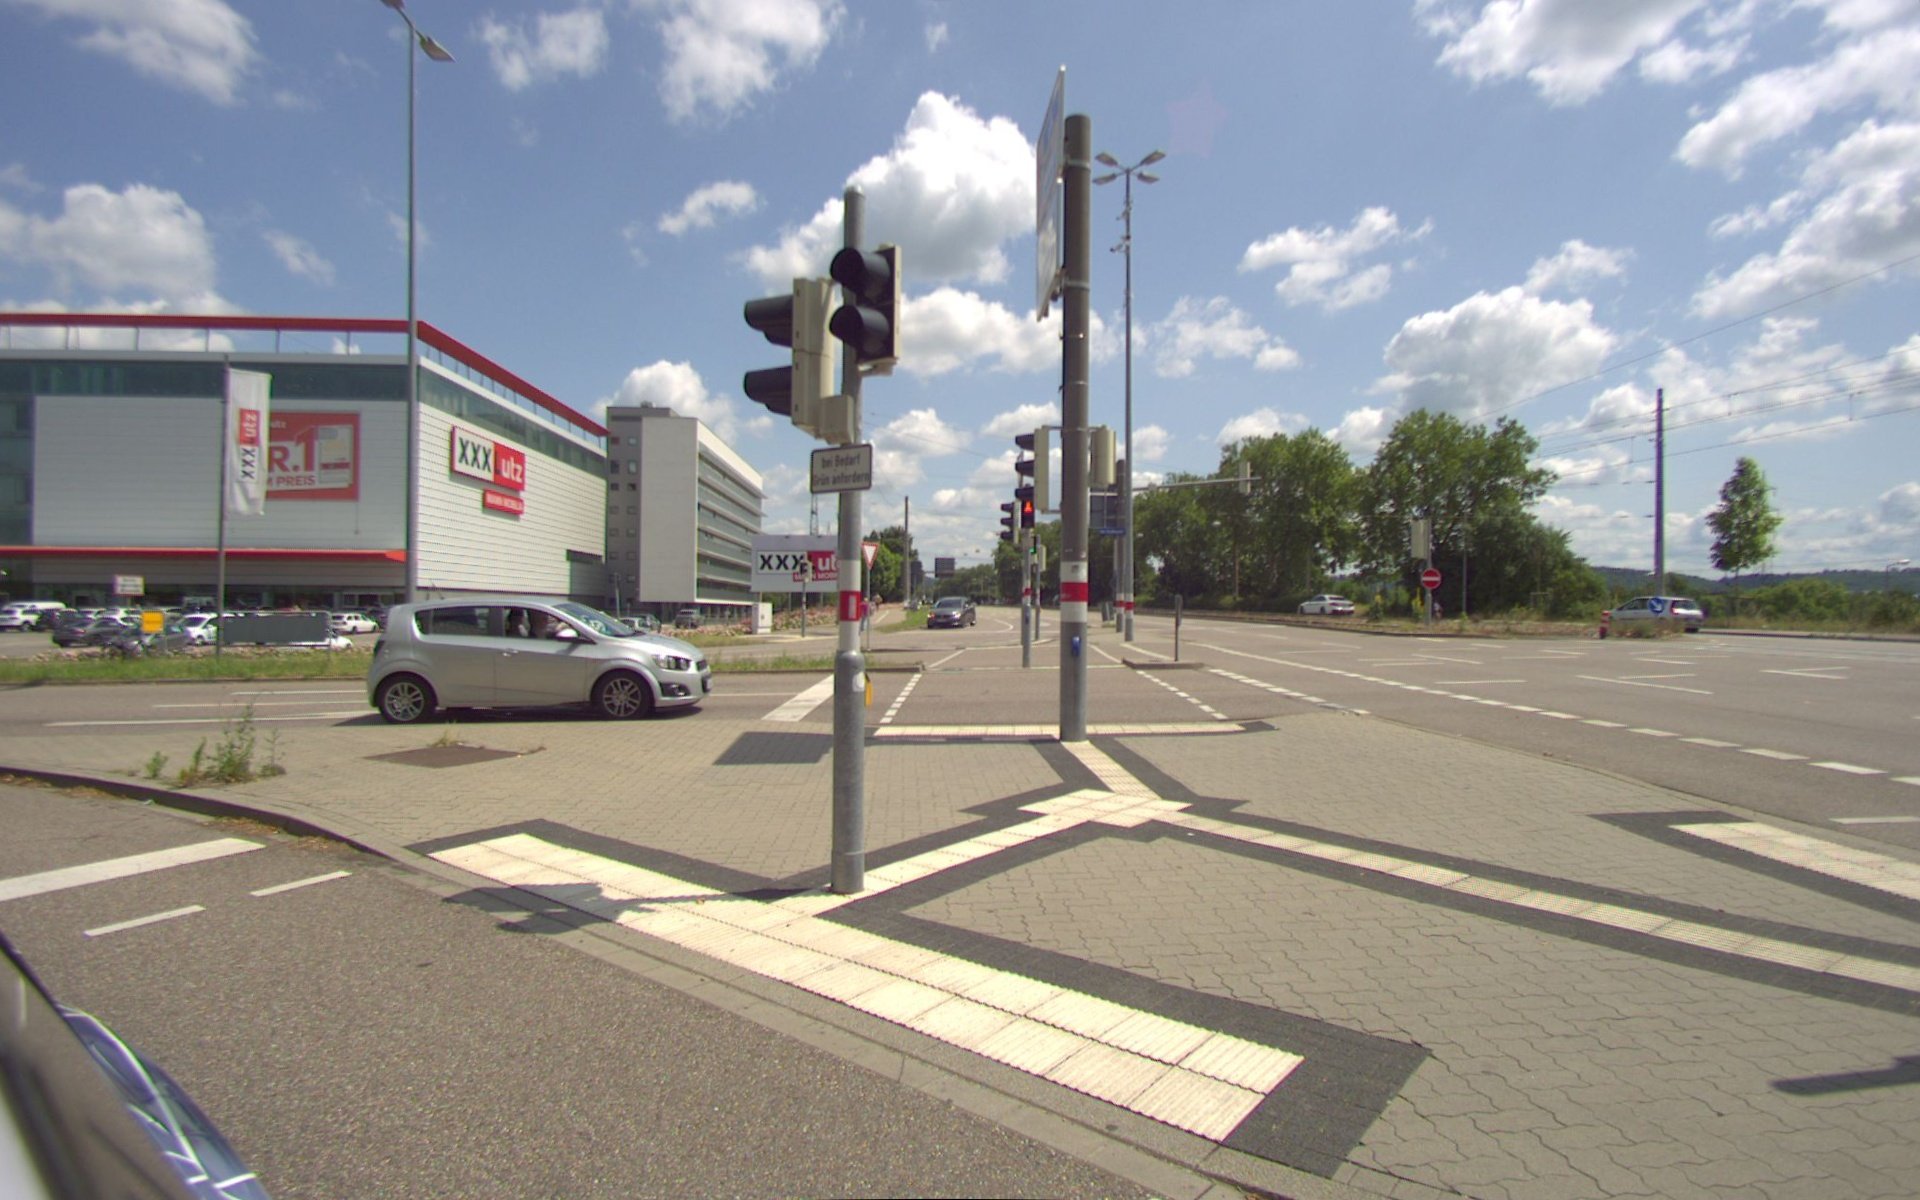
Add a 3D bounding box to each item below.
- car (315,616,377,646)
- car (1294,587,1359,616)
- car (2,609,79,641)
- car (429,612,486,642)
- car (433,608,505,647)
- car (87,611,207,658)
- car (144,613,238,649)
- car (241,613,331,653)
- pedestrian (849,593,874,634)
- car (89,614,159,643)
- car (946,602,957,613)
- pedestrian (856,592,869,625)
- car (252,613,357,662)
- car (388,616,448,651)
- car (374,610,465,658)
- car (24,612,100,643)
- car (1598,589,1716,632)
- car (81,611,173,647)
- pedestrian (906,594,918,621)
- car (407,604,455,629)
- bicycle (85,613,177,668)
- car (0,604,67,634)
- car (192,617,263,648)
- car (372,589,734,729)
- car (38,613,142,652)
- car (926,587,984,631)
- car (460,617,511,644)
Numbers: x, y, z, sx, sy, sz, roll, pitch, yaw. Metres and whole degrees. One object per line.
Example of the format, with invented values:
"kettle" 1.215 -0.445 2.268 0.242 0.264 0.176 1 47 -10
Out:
"car" -42.055 2.107 69.432 1.970 2.004 4.089 0 -1 -3
"car" 24.331 0.109 67.422 1.969 1.822 5.141 0 -1 -6
"car" -69.216 1.880 76.290 1.842 2.324 4.574 0 -1 -3
"car" -34.804 1.853 70.259 1.970 2.004 4.631 0 -1 -4
"car" -26.581 1.470 54.965 1.970 2.004 4.366 0 -1 -3
"car" -35.935 1.507 44.881 1.970 2.004 4.366 0 -1 -3
"car" -41.391 1.671 54.599 1.970 1.853 4.366 0 -1 -3
"car" -36.275 1.749 54.622 1.970 2.004 4.601 1 0 -3
"pedestrian" -4.526 0.619 46.495 0.852 1.851 0.800 0 1 -31
"car" -61.412 2.094 74.440 1.970 2.029 4.003 -1 -1 -3
"car" -1.730 1.551 201.387 1.974 2.029 3.995 -1 -2 4
"pedestrian" -5.499 0.468 57.149 0.590 1.824 0.533 -1 -2 8
"car" -28.653 1.608 44.431 1.970 2.004 4.366 0 -1 -3
"car" -32.215 1.975 60.342 1.966 2.004 5.324 0 -1 -15
"car" -23.930 1.469 44.968 1.971 2.029 4.000 0 -1 -1
"car" -61.305 1.851 69.164 1.751 2.029 4.003 -1 -1 -3
"car" 31.321 0.490 45.666 1.784 1.671 4.331 5 -2 -10
"car" -48.889 1.710 59.513 1.970 2.004 4.366 1 -1 -3
"pedestrian" -3.752 0.589 78.554 0.768 2.029 0.564 -1 -2 18
"car" -44.380 1.414 85.052 1.971 2.004 4.087 0 -1 -1
"bicycle" -25.966 1.261 31.743 2.019 1.688 1.021 -1 -2 -2
"car" -63.935 1.324 69.241 1.970 2.004 4.366 0 -1 -3
"car" -49.510 2.173 68.490 1.970 2.004 4.089 0 -1 -3
"car" -4.922 0.667 12.705 3.776 1.481 1.902 -2 1 -3
"car" -46.373 1.699 54.074 1.970 2.004 4.366 0 -1 -3
"car" -0.207 0.486 49.632 1.980 2.029 3.982 -1 -2 13
"car" -35.463 2.265 75.749 1.970 2.004 4.366 0 -1 -3
